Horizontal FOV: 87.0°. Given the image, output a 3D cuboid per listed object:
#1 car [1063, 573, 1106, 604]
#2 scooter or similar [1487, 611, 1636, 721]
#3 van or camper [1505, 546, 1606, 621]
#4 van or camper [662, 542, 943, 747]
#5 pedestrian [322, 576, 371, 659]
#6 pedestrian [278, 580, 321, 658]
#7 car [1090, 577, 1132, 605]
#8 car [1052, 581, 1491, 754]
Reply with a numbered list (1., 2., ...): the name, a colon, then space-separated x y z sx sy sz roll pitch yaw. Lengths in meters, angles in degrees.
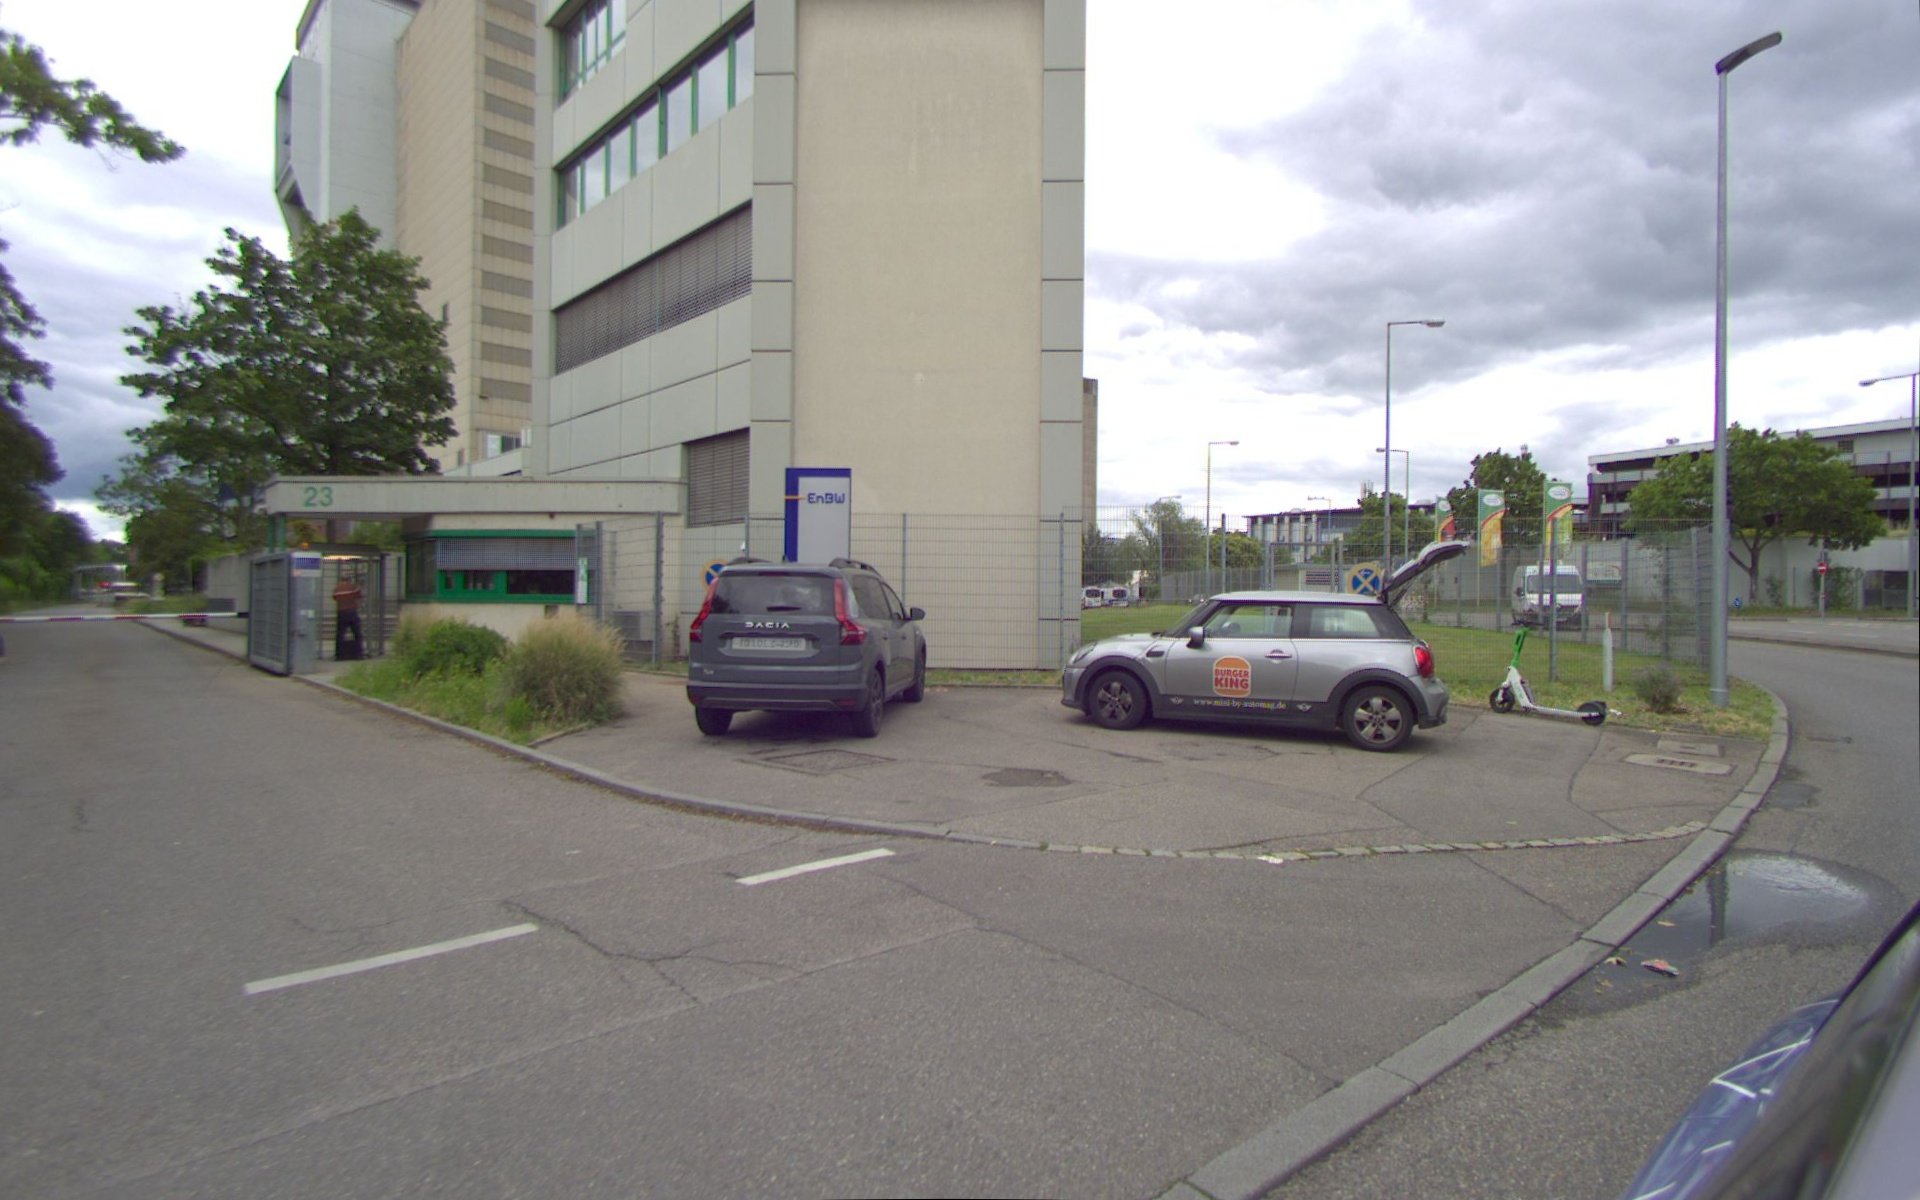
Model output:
1. car: 12.458 -1.085 101.695 2.377 2.798 5.463 0 -2 -15
2. scooter or similar: 7.042 0.741 11.905 0.472 1.147 1.418 0 2 -38
3. van or camper: 22.467 -0.605 38.463 2.245 2.589 6.067 -1 0 21
4. van or camper: -1.397 0.371 10.843 1.801 1.716 4.497 -1 0 7
5. pedestrian: -12.371 0.344 20.396 0.768 1.641 0.715 1 0 -35
6. pedestrian: -14.811 0.424 22.697 0.768 1.707 0.715 1 0 -35
7. car: 15.377 -0.868 103.442 2.192 2.581 5.199 0 -2 -15
8. car: 3.110 0.553 10.308 3.980 1.450 1.770 1 1 26
